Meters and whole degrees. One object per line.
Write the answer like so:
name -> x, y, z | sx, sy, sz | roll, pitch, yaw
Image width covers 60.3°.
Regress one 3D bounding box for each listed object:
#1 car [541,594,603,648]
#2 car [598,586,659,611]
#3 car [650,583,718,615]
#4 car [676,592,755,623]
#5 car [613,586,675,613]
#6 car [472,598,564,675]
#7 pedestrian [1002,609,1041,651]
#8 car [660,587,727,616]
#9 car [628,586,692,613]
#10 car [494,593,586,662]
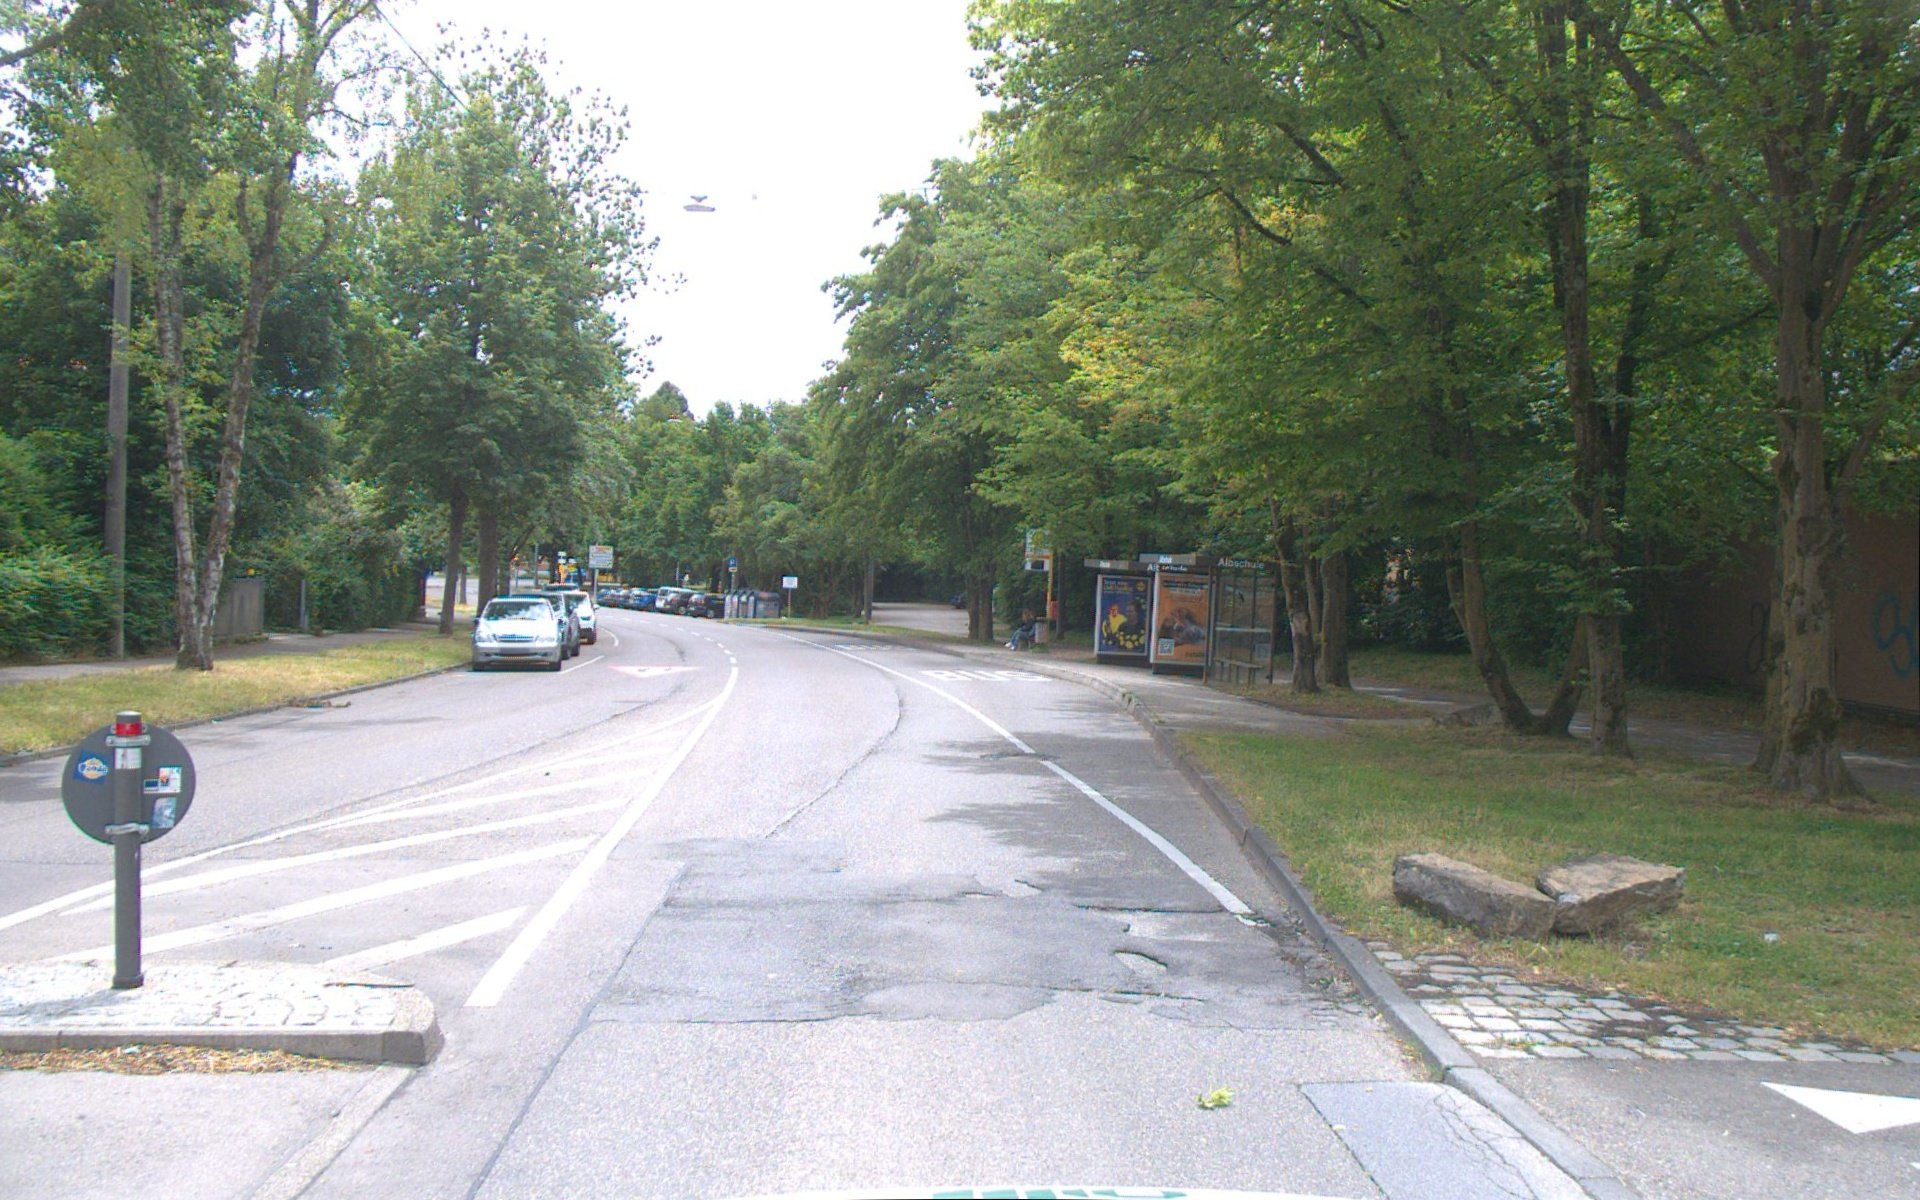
car -> -12.001, 0.611, 51.316 | 1.704, 1.606, 4.130 | 0, 0, -11
car -> -23.530, -0.110, 117.362 | 3.852, 1.451, 1.802 | 5, -3, -42
car -> -17.664, -0.078, 105.892 | 3.798, 1.750, 1.850 | 5, -2, -42
car -> -14.131, 0.421, 95.638 | 3.965, 1.438, 2.027 | 5, 0, -42
car -> -21.903, -0.038, 114.747 | 3.798, 1.555, 1.720 | 5, -3, -42
car -> -9.032, 0.700, 33.953 | 1.706, 1.441, 4.455 | 0, 0, -14
pedestrian -> 1.814, 0.882, 48.868 | 1.045, 1.203, 0.578 | 1, 0, -14
car -> -16.640, 0.119, 103.357 | 3.798, 1.493, 1.720 | 5, -1, -42
car -> -19.983, -0.038, 110.187 | 3.798, 1.555, 1.720 | 5, -3, -42
car -> -10.100, 0.625, 40.026 | 1.703, 1.565, 4.181 | 0, 0, -8
